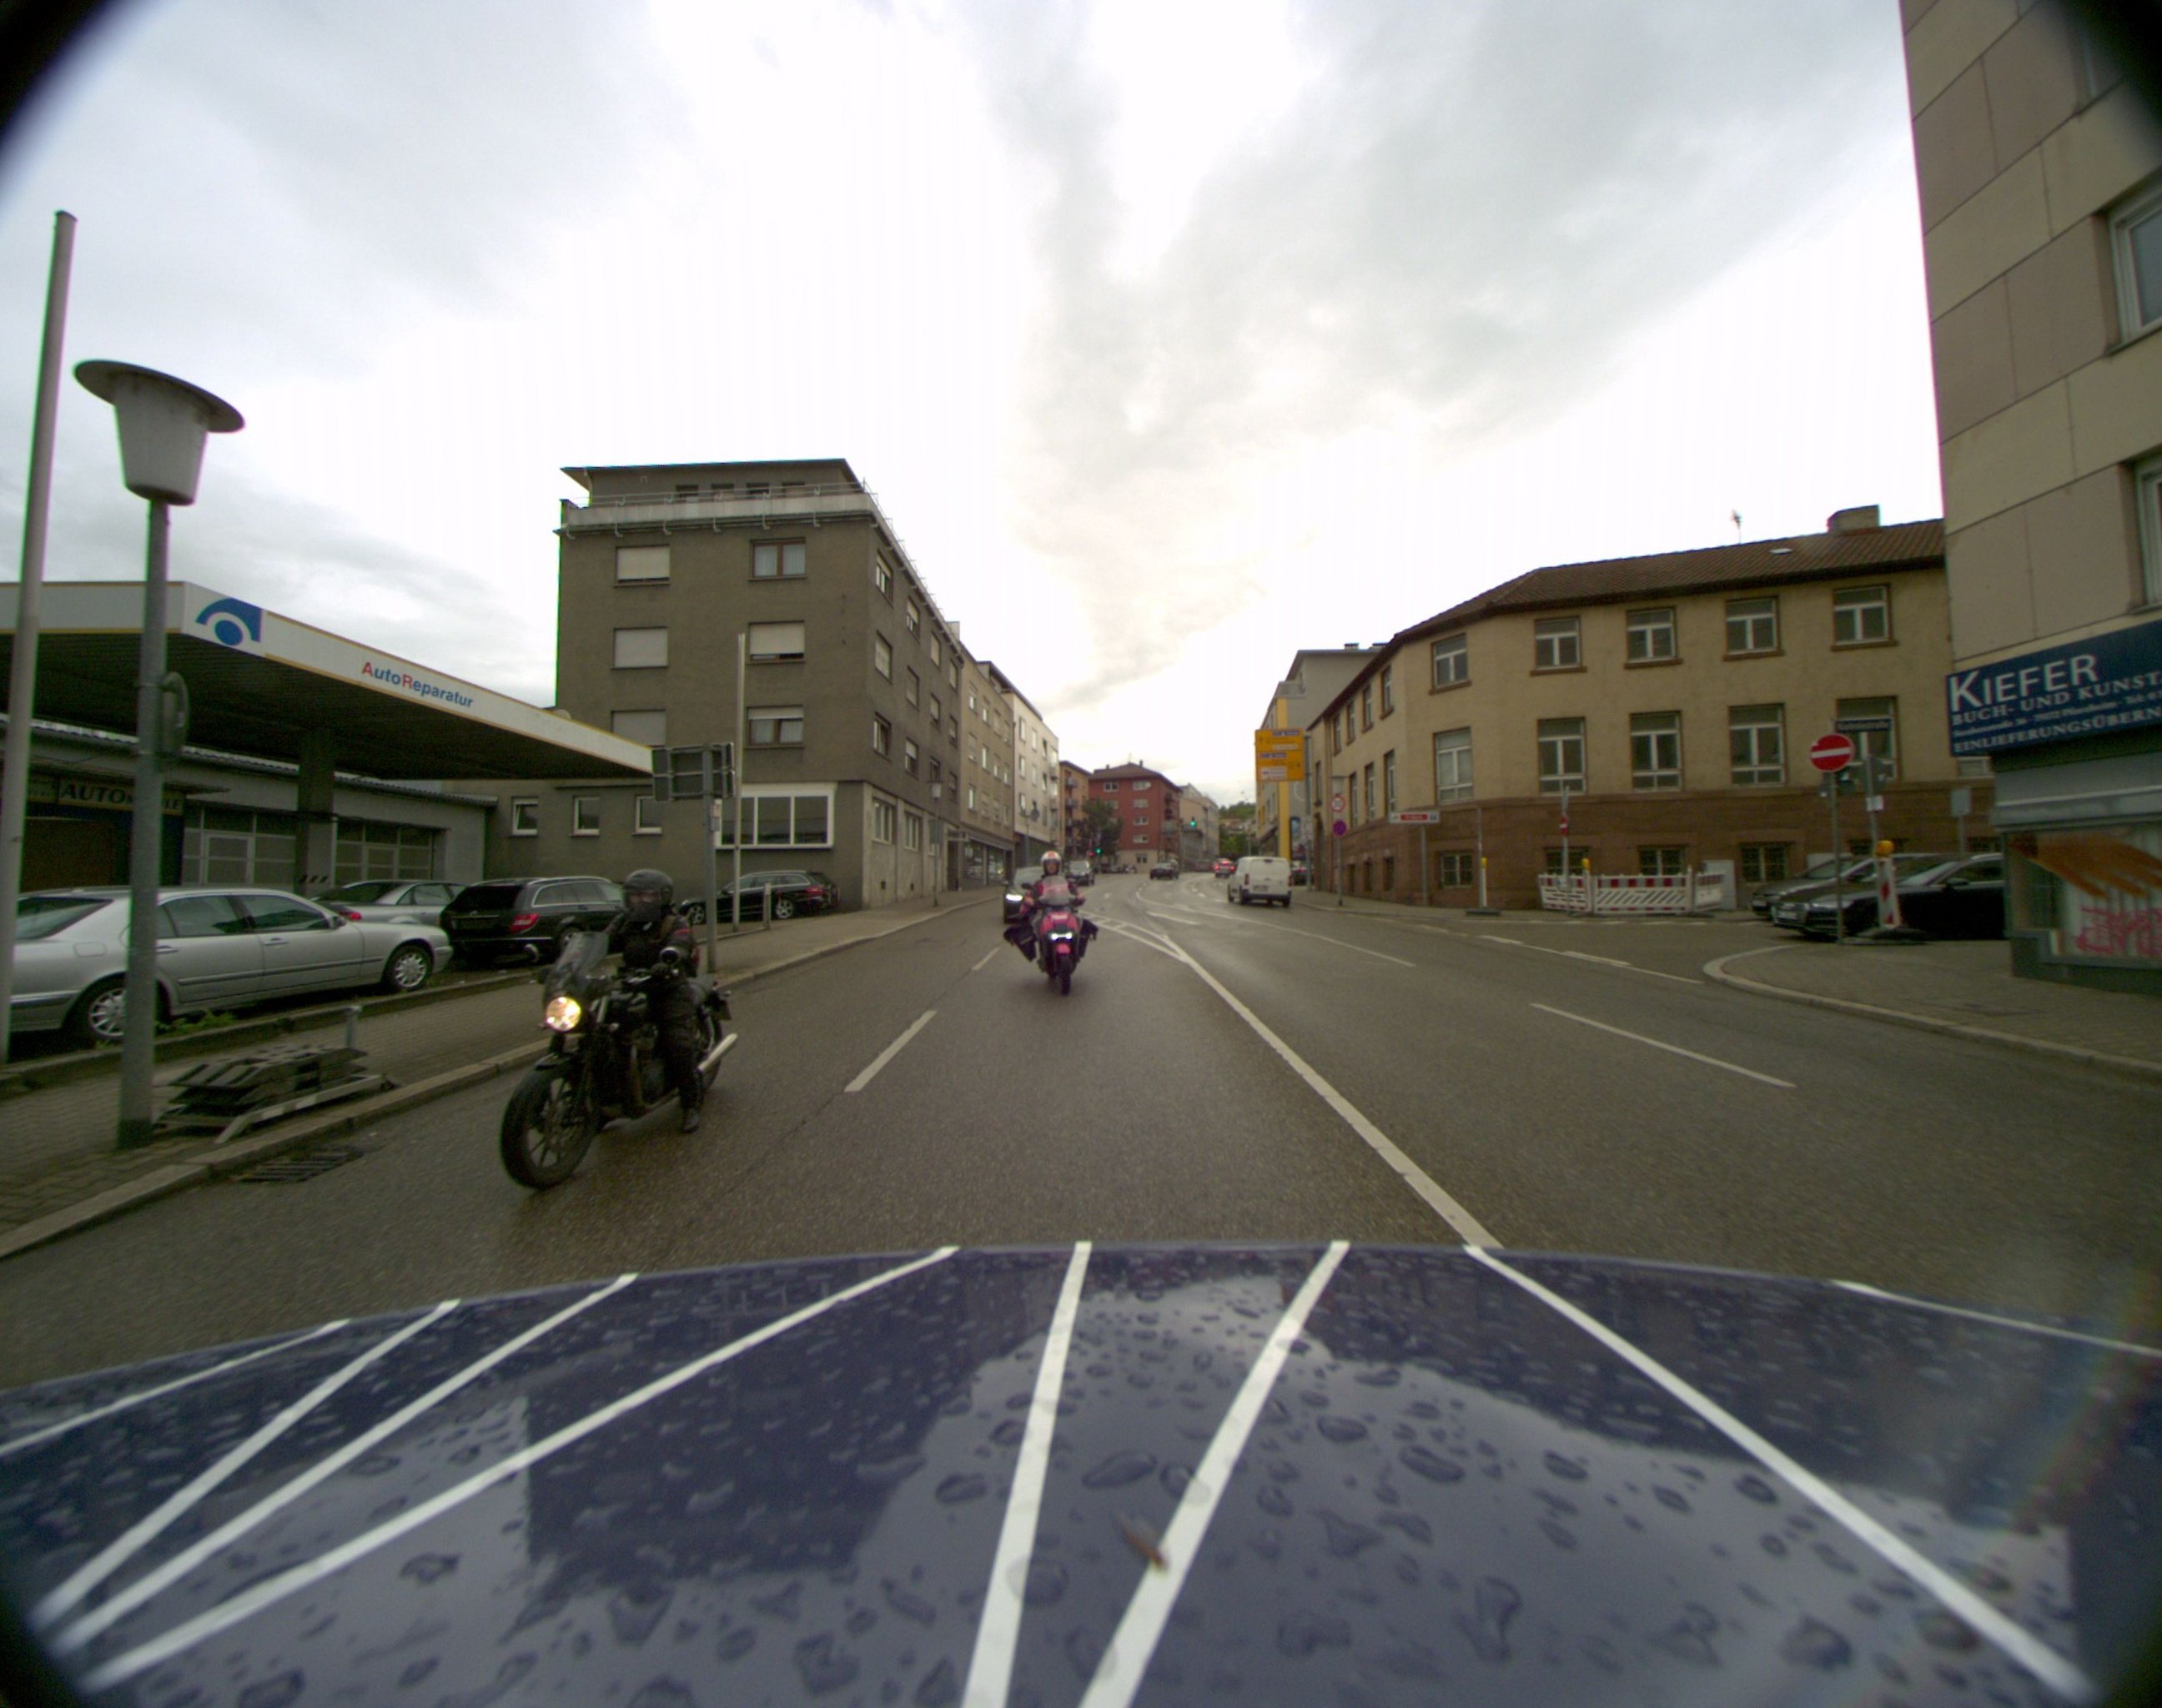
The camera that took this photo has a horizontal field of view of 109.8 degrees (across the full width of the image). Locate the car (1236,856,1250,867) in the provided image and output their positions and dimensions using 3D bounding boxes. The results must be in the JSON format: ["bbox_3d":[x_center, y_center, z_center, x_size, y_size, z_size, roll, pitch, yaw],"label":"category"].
[{"bbox_3d":[22.176,1.065,104.215,1.860,1.445,4.322,0,0,11],"label":"car"}]

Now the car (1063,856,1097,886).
[{"bbox_3d":[-0.022,1.095,51.602,1.847,1.892,3.767,-2,0,7],"label":"car"}]

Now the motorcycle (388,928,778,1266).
[{"bbox_3d":[-2.683,1.197,4.573,0.847,1.218,2.372,-3,0,-4],"label":"motorcycle"}]

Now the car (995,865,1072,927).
[{"bbox_3d":[-1.231,1.090,21.315,1.705,1.451,4.319,-3,0,1],"label":"car"}]

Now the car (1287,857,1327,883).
[{"bbox_3d":[13.671,0.943,46.233,1.861,1.445,3.966,-4,-1,11],"label":"car"}]

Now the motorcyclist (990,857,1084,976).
[{"bbox_3d":[-0.531,0.753,9.555,1.010,1.373,0.835,-3,0,3],"label":"motorcyclist"}]

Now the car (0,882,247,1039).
[{"bbox_3d":[-12.163,1.120,7.936,1.792,1.535,4.493,3,-1,2],"label":"car"}]

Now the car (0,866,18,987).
[{"bbox_3d":[-15.122,0.958,7.917,1.793,1.591,4.419,-1,0,2],"label":"car"}]

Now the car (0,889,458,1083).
[{"bbox_3d":[-9.682,1.187,8.284,1.792,1.407,4.616,0,0,4],"label":"car"}]

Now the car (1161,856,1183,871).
[{"bbox_3d":[9.169,0.955,75.968,1.860,1.445,4.322,0,0,11],"label":"car"}]

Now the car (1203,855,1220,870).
[{"bbox_3d":[14.821,0.958,86.386,1.861,1.688,4.321,0,0,8],"label":"car"}]

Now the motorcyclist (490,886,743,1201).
[{"bbox_3d":[-2.684,1.027,4.532,0.847,1.580,0.962,-3,1,-4],"label":"motorcyclist"}]

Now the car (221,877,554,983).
[{"bbox_3d":[-12.023,1.219,13.709,1.792,1.502,4.420,3,-1,2],"label":"car"}]

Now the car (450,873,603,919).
[{"bbox_3d":[-18.238,1.373,25.101,3.751,1.445,1.795,0,-2,3],"label":"car"}]

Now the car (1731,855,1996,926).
[{"bbox_3d":[17.640,0.851,17.364,3.806,1.457,1.756,-2,-3,14],"label":"car"}]

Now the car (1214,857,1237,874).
[{"bbox_3d":[13.149,1.054,69.350,1.861,1.445,4.321,2,0,8],"label":"car"}]

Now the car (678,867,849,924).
[{"bbox_3d":[-9.951,1.289,24.044,4.531,1.495,2.001,-3,0,5],"label":"car"}]

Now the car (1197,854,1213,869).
[{"bbox_3d":[15.416,0.903,94.604,1.847,1.892,3.768,-1,0,10],"label":"car"}]

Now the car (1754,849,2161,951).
[{"bbox_3d":[14.515,0.756,12.866,4.358,1.495,1.755,-2,0,11],"label":"car"}]

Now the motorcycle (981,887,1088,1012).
[{"bbox_3d":[-0.505,1.115,9.758,1.010,1.218,2.694,-3,0,3],"label":"motorcycle"}]

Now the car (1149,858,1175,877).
[{"bbox_3d":[6.651,1.060,62.132,1.861,1.445,4.321,0,0,9],"label":"car"}]

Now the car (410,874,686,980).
[{"bbox_3d":[-9.349,1.183,13.894,1.793,1.503,4.438,-1,0,2],"label":"car"}]

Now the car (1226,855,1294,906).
[{"bbox_3d":[6.776,0.927,29.157,1.865,1.793,4.267,0,0,4],"label":"car"}]
